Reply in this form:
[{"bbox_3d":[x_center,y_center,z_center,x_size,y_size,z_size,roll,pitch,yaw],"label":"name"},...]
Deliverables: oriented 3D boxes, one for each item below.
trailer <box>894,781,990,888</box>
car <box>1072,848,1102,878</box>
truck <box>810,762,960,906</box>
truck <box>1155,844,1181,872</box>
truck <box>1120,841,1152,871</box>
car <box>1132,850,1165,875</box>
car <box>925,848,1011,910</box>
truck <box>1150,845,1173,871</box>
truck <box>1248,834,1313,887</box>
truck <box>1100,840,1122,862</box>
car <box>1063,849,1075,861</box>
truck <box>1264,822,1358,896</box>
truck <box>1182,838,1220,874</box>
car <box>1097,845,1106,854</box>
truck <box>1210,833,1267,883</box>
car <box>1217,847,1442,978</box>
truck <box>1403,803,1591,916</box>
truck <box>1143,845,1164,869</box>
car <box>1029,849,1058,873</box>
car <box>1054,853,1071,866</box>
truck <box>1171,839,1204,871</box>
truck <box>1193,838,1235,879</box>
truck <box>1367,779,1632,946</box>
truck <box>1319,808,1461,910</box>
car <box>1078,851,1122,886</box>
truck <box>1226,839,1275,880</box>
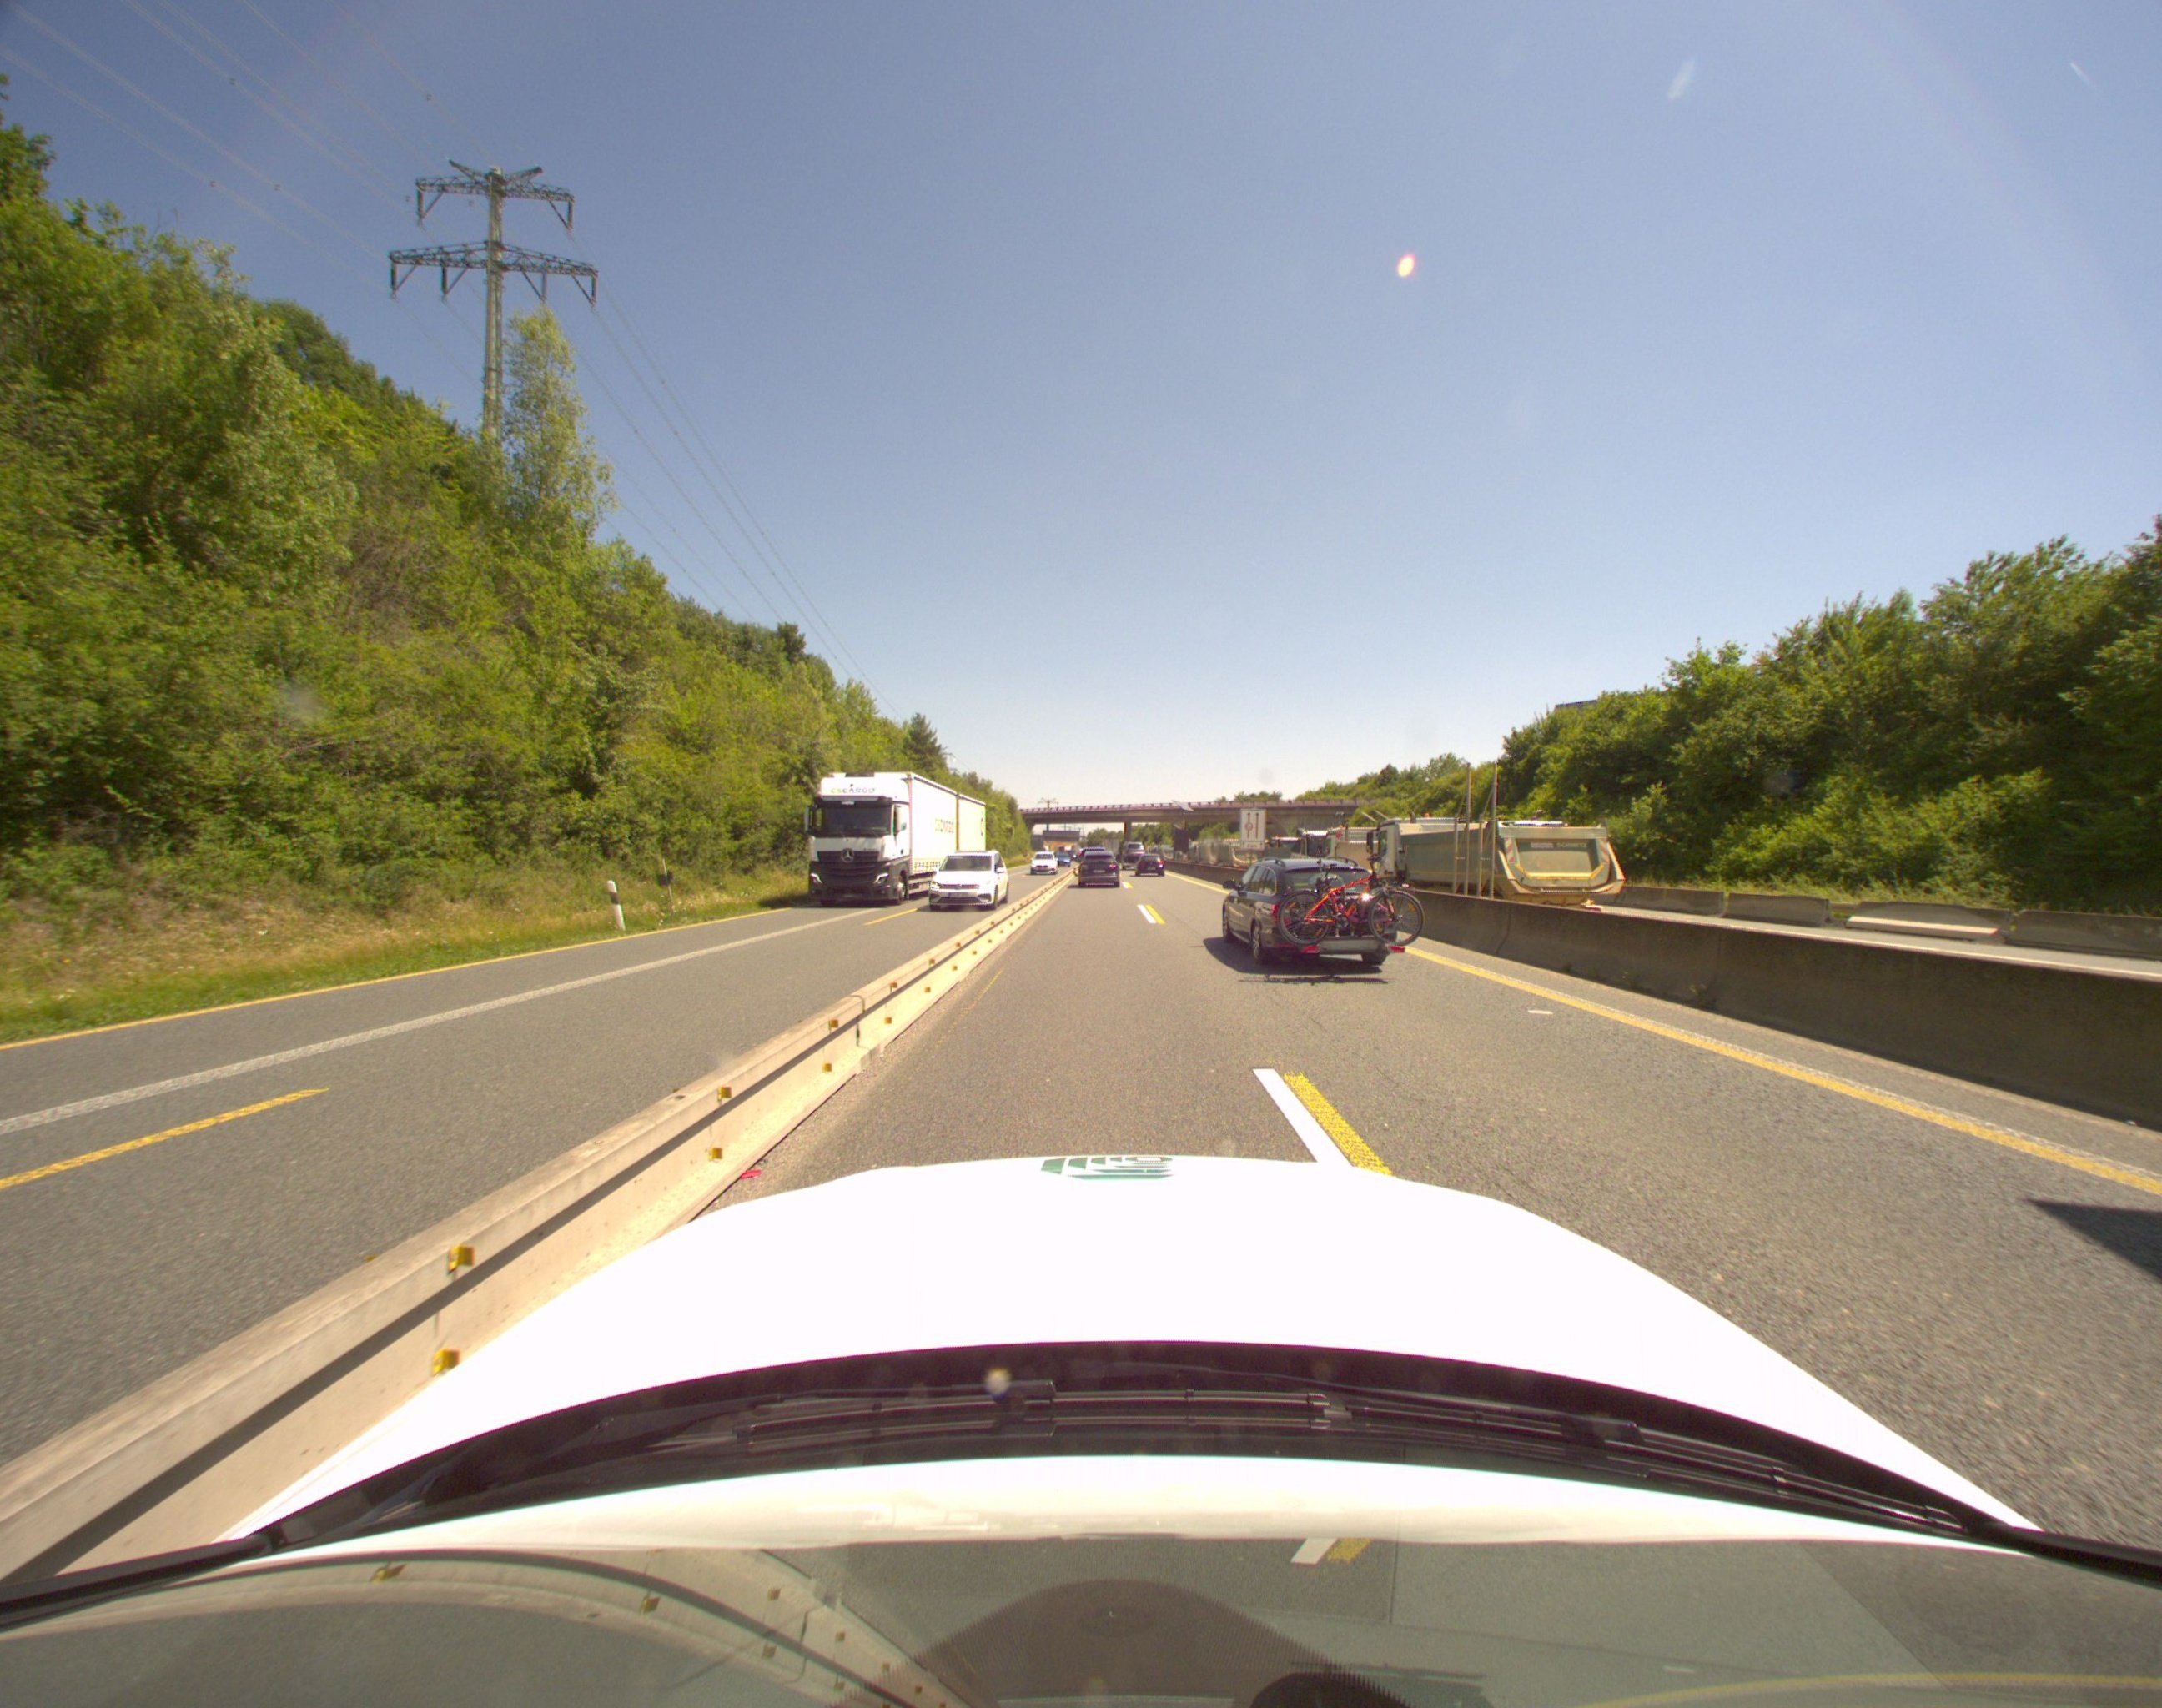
[{"bbox_3d":[-6.150,-0.808,37.451,2.628,4.312,8.451,1,0,2],"label":"trailer"},{"bbox_3d":[0.444,0.596,55.236,1.892,1.968,4.278,0,0,2],"label":"car"},{"bbox_3d":[-6.281,-0.572,28.018,2.401,3.992,10.354,1,0,1],"label":"truck"},{"bbox_3d":[12.064,0.553,113.589,2.678,3.761,9.325,0,0,0],"label":"truck"},{"bbox_3d":[4.804,0.162,72.322,2.398,2.558,7.499,0,0,0],"label":"truck"},{"bbox_3d":[4.338,0.540,52.957,1.892,1.585,4.278,0,0,2],"label":"car"},{"bbox_3d":[-3.133,0.663,23.320,1.818,1.630,4.151,0,0,1],"label":"car"},{"bbox_3d":[12.369,0.570,125.068,2.678,3.856,9.325,0,0,0],"label":"truck"},{"bbox_3d":[14.546,0.439,60.175,2.678,3.557,9.604,0,0,1],"label":"truck"},{"bbox_3d":[5.136,-0.516,142.576,3.283,3.845,10.105,0,0,-1],"label":"truck"},{"bbox_3d":[-1.999,0.173,136.049,1.884,2.013,4.819,0,0,2],"label":"car"},{"bbox_3d":[12.144,0.252,43.917,2.529,3.557,9.604,0,0,1],"label":"truck"},{"bbox_3d":[12.553,0.198,85.940,2.678,3.557,9.324,0,0,0],"label":"truck"},{"bbox_3d":[4.567,-0.971,177.408,1.892,1.968,4.278,0,0,2],"label":"car"},{"bbox_3d":[11.858,0.284,62.190,2.677,3.557,9.604,0,0,1],"label":"truck"},{"bbox_3d":[3.253,0.678,11.794,1.892,1.490,4.949,0,0,2],"label":"car"},{"bbox_3d":[14.589,0.156,29.502,2.678,3.511,8.381,0,0,1],"label":"truck"},{"bbox_3d":[12.185,0.511,137.662,2.678,3.843,9.325,0,0,0],"label":"truck"},{"bbox_3d":[-2.641,0.518,58.234,1.756,1.632,4.297,0,0,1],"label":"car"},{"bbox_3d":[-1.953,0.597,87.100,1.707,1.425,4.170,0,0,0],"label":"car"},{"bbox_3d":[12.266,0.144,94.861,2.678,3.557,9.324,0,0,0],"label":"truck"},{"bbox_3d":[12.076,0.387,74.580,2.677,3.557,9.411,0,0,2],"label":"truck"},{"bbox_3d":[10.369,0.172,21.623,2.524,3.511,9.098,0,0,1],"label":"truck"},{"bbox_3d":[11.894,0.165,32.387,2.523,3.511,8.948,0,0,2],"label":"truck"},{"bbox_3d":[0.891,0.631,36.933,1.892,1.505,4.278,0,0,2],"label":"car"},{"bbox_3d":[14.954,0.436,72.446,2.677,3.377,9.607,0,0,2],"label":"truck"}]
